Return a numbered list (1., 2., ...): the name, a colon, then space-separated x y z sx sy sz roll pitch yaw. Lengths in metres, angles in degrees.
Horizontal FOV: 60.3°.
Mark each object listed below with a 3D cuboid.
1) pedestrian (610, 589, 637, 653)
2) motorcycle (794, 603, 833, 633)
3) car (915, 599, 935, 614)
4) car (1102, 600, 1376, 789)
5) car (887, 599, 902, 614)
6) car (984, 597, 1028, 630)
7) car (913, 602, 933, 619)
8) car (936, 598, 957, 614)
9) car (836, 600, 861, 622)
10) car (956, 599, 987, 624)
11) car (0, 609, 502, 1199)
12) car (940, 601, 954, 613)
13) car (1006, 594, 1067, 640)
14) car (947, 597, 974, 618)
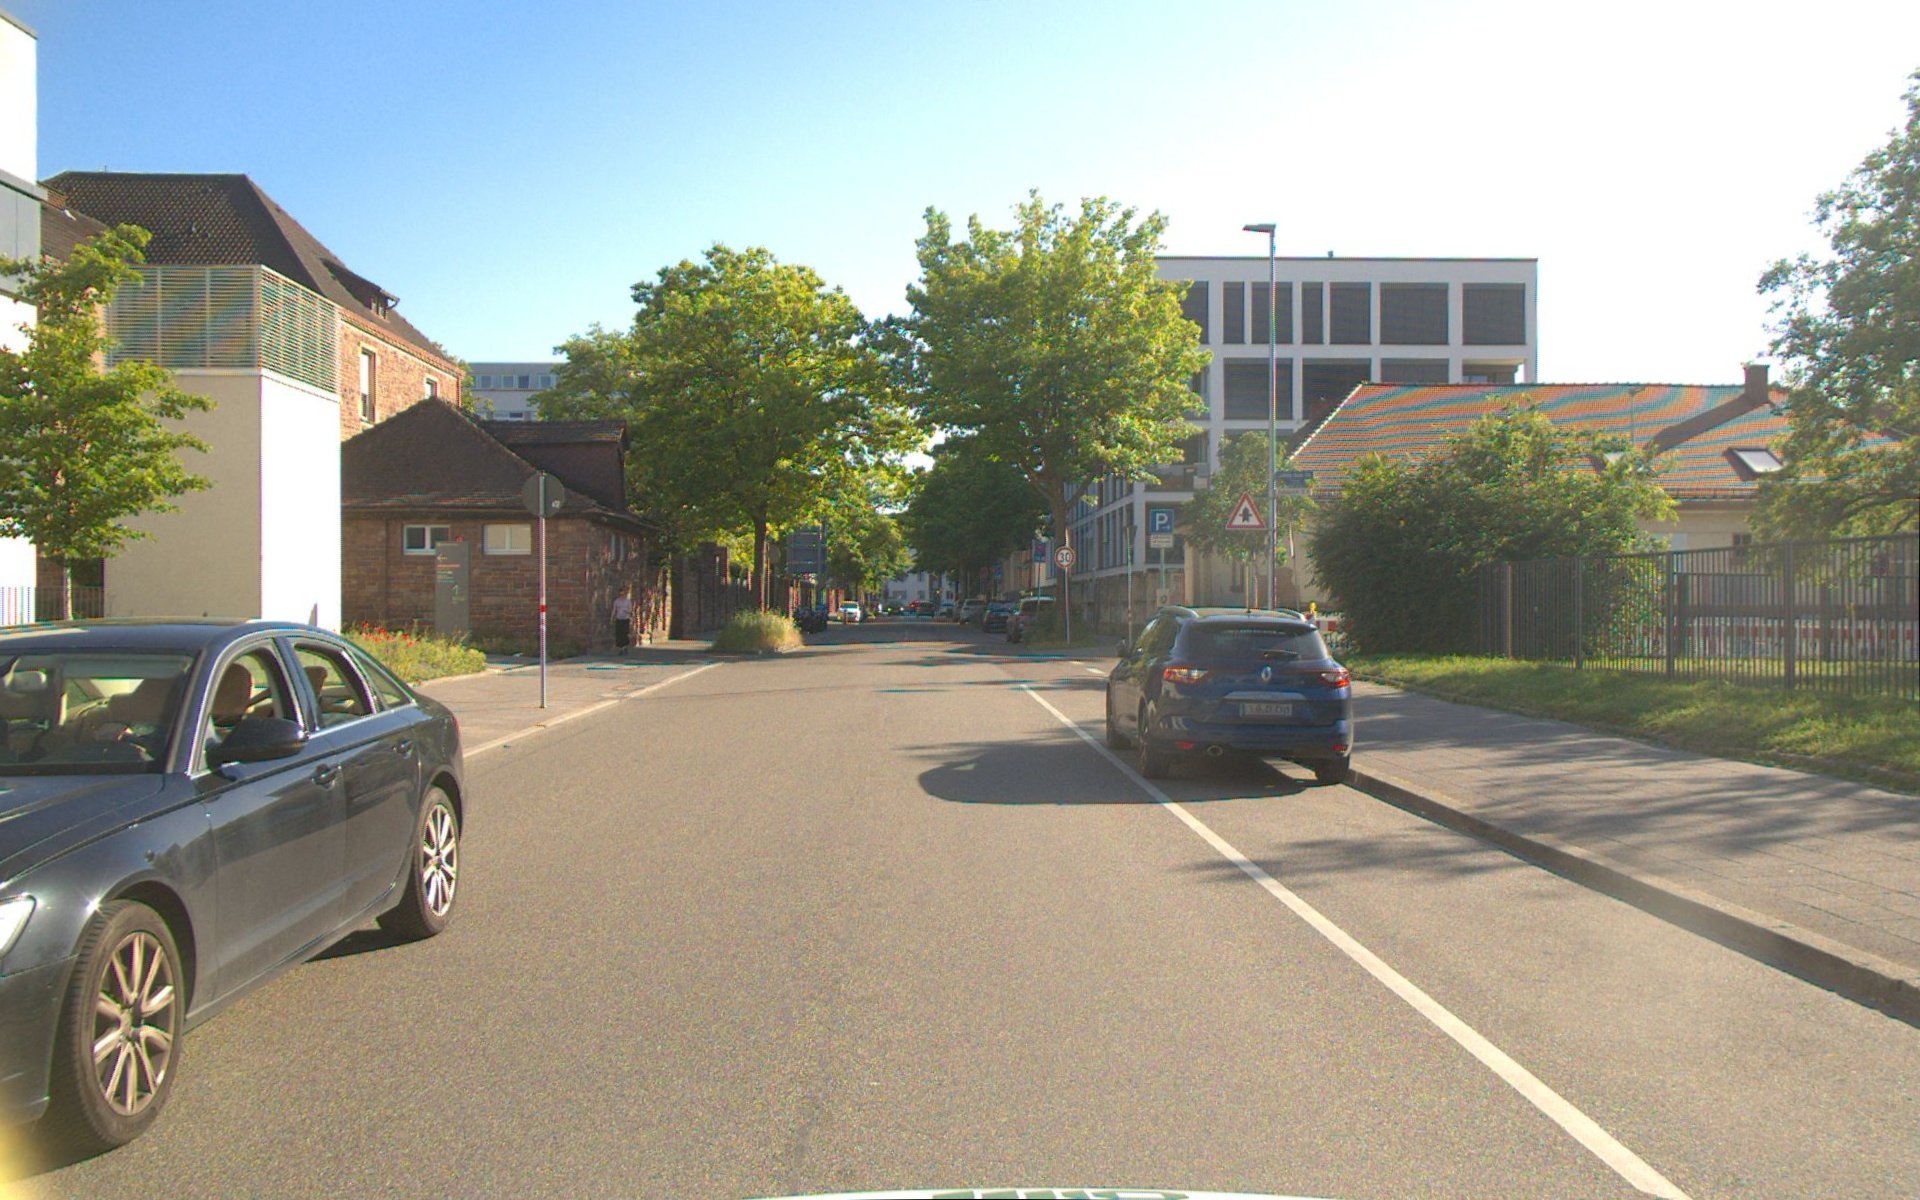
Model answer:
1. pedestrian: -8.427 0.522 41.431 0.511 1.590 1.095 0 0 -2
2. motorcycle: -6.457 0.797 72.863 0.566 1.298 2.117 0 0 31
3. car: -3.294 0.587 157.318 1.851 1.424 3.835 0 0 -1
4. car: 2.433 0.762 15.436 1.781 1.478 4.213 1 0 -1
5. car: -7.071 0.722 179.505 1.620 1.557 3.999 0 0 -2
6. car: 2.085 0.597 76.418 1.732 1.465 3.998 0 0 -3
7. car: -3.491 0.943 156.539 1.732 1.575 4.063 0 0 -3
8. car: -1.284 0.516 153.469 1.953 1.450 3.835 0 0 -1
9. car: -7.877 0.775 116.979 1.732 1.513 3.998 0 0 -3
10. car: 0.719 0.713 105.234 1.911 1.606 3.835 0 0 -1
11. car: -3.149 0.799 6.049 1.726 1.467 4.537 -1 0 -1
12. car: -1.514 0.776 186.308 1.553 1.424 3.835 0 0 -1
13. car: 2.511 0.549 55.351 1.669 1.494 4.787 0 0 -2
14. car: 0.026 0.518 120.857 1.953 1.491 3.835 0 0 -1
